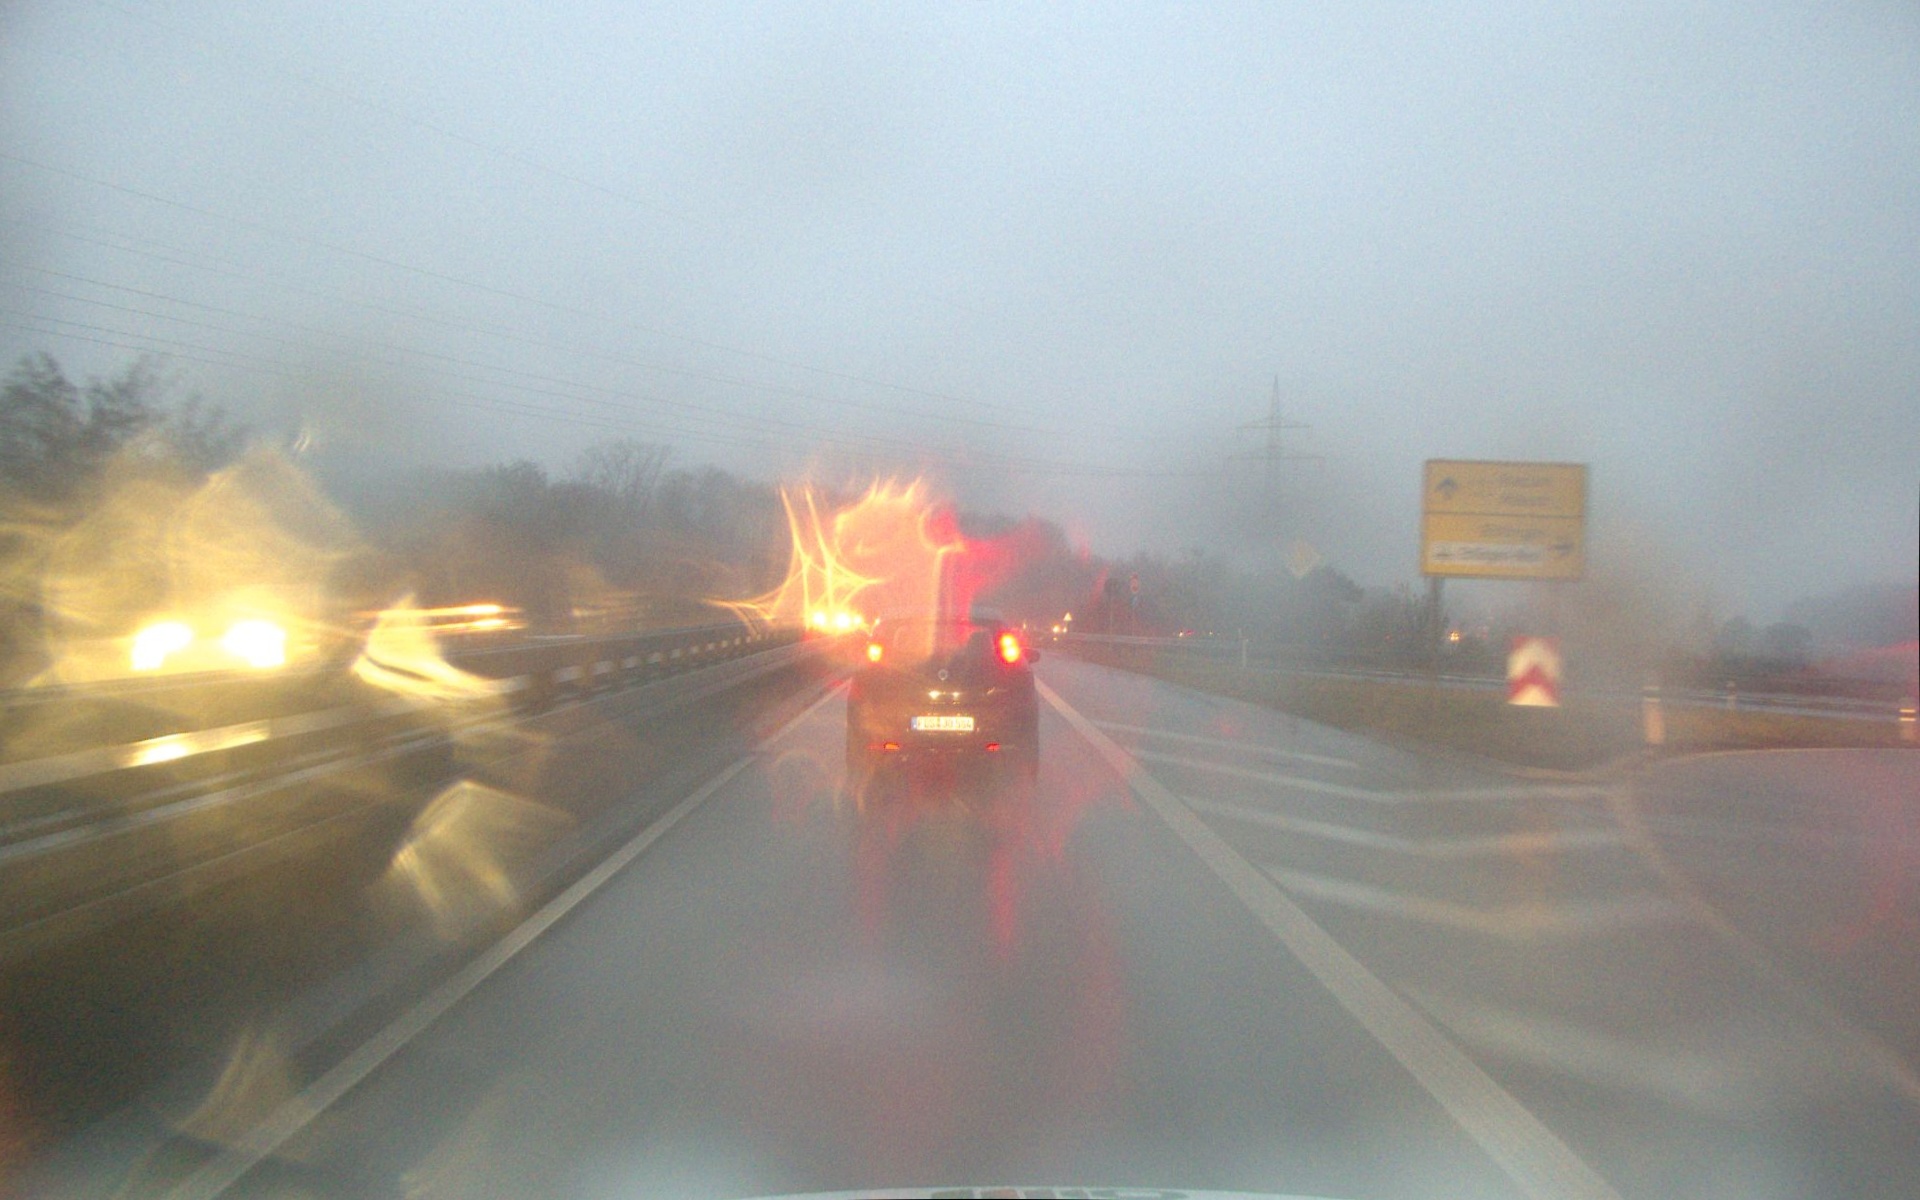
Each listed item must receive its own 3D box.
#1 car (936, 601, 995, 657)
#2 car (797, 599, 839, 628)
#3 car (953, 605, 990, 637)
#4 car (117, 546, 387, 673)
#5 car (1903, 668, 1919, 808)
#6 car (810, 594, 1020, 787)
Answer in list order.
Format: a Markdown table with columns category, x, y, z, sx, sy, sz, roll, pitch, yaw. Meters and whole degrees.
| category | x | y | z | sx | sy | sz | roll | pitch | yaw |
| --- | --- | --- | --- | --- | --- | --- | --- | --- | --- |
| car | 0.160 | 1.003 | 59.564 | 1.953 | 1.846 | 3.999 | 2 | 1 | -2 |
| car | -7.585 | 0.742 | 88.885 | 1.953 | 1.498 | 4.471 | 1 | -1 | -2 |
| car | 0.677 | 1.241 | 95.797 | 1.905 | 1.775 | 4.001 | 1 | -1 | 4 |
| car | -9.991 | 0.068 | 23.772 | 2.051 | 1.621 | 4.477 | 1 | 1 | -2 |
| car | 15.614 | 2.081 | 24.973 | 1.959 | 1.968 | 4.891 | 3 | 0 | 34 |
| car | -0.341 | 0.762 | 15.385 | 1.694 | 1.559 | 4.042 | 0 | -1 | 1 |
